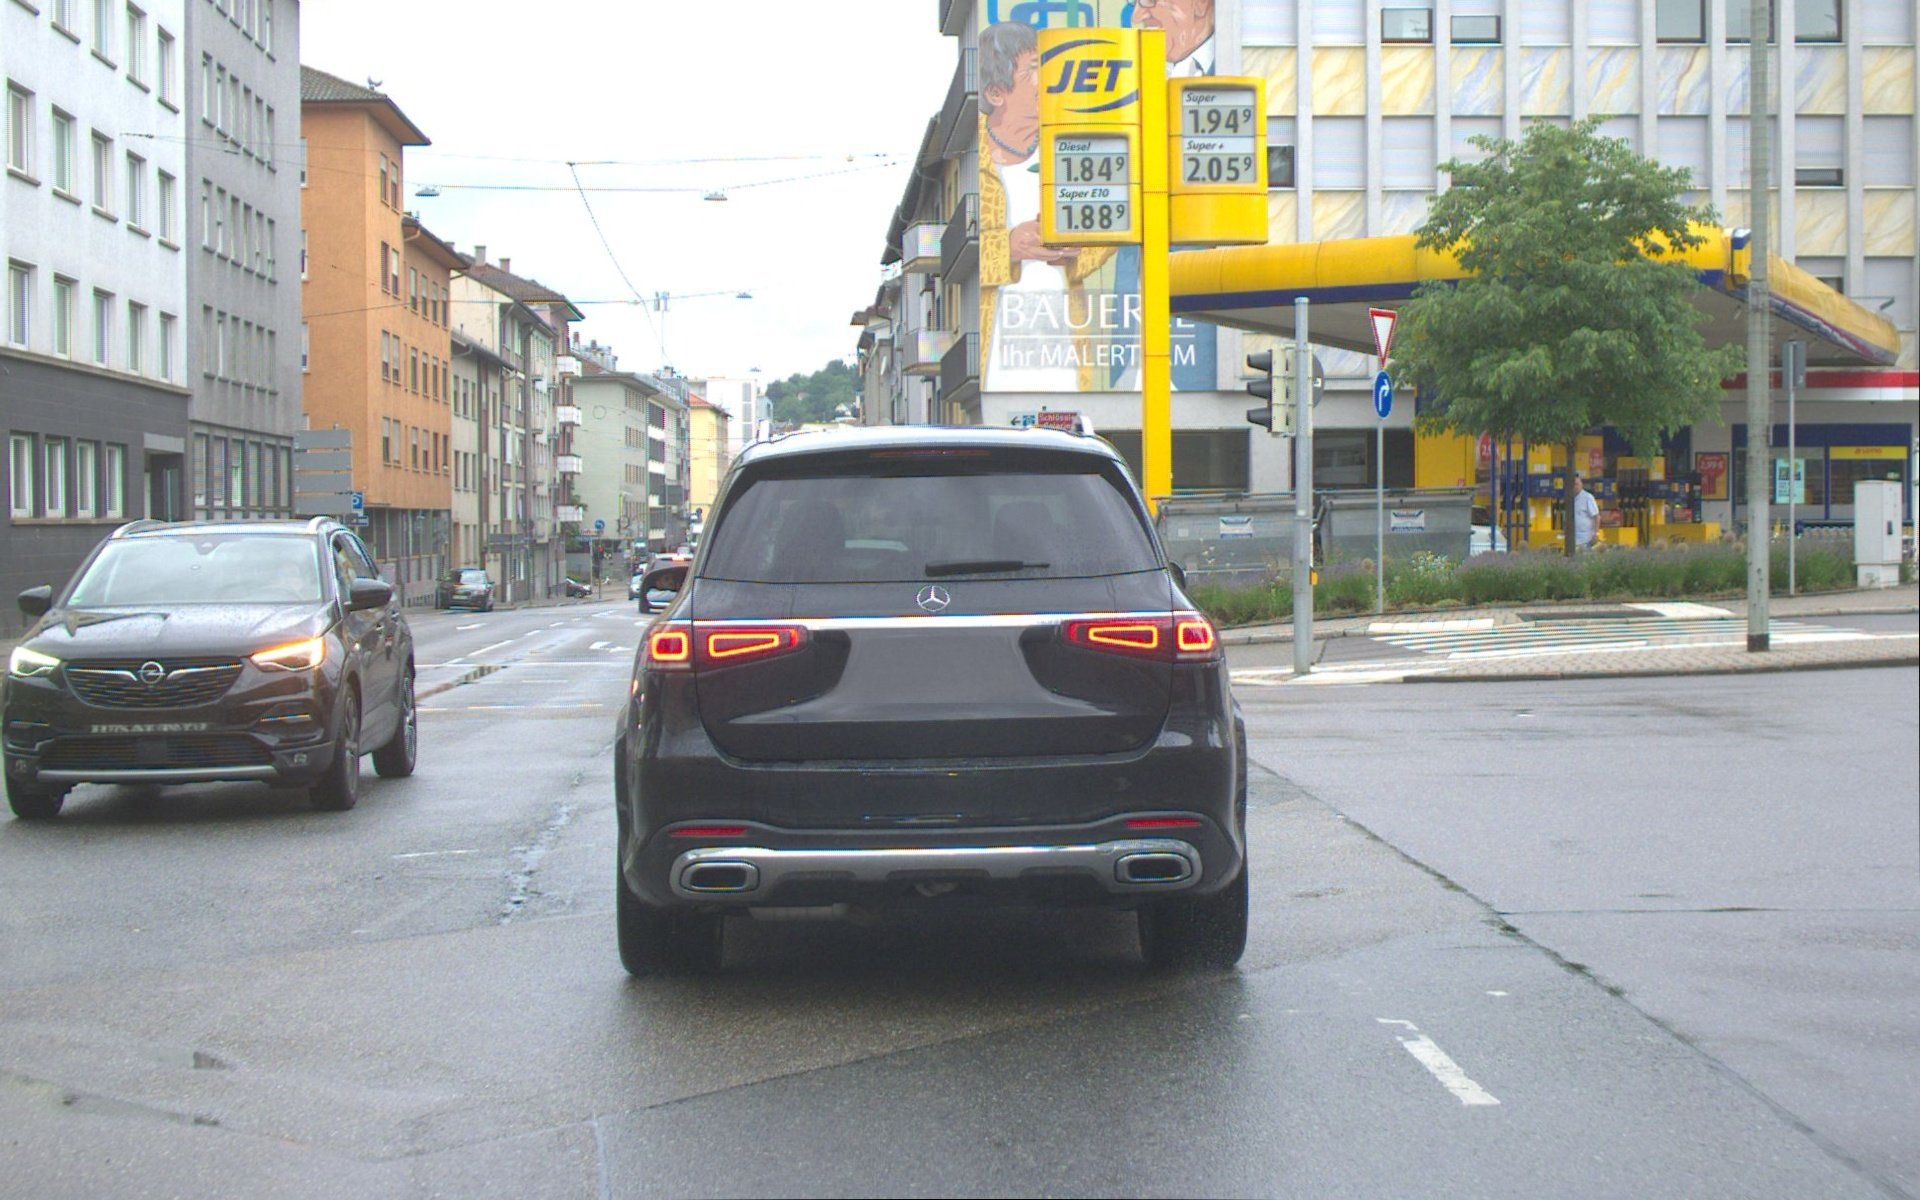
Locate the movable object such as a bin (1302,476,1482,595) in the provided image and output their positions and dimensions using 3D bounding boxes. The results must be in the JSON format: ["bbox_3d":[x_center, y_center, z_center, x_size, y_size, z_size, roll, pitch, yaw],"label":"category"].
[{"bbox_3d":[5.937,-0.882,47.405,2.155,1.550,1.773,-2,1,-2],"label":"movable object such as a bin"}]

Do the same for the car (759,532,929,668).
[{"bbox_3d":[-1.567,-0.035,44.974,2.076,1.644,4.296,1,1,-3],"label":"car"}]

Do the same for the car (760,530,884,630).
[{"bbox_3d":[-2.458,-0.379,60.454,2.076,1.644,4.296,1,1,-3],"label":"car"}]

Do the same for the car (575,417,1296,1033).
[{"bbox_3d":[-0.193,0.330,12.392,2.076,1.759,4.612,1,1,-3],"label":"car"}]

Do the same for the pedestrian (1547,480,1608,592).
[{"bbox_3d":[8.831,-0.914,49.178,0.664,1.579,0.847,1,1,0],"label":"pedestrian"}]

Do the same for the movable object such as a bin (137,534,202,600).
[{"bbox_3d":[-16.073,-0.672,69.929,1.076,1.320,1.191,1,1,-3],"label":"movable object such as a bin"}]

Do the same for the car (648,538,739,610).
[{"bbox_3d":[-6.441,-0.656,83.554,2.076,1.644,4.296,1,1,-3],"label":"car"}]

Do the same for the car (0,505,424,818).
[{"bbox_3d":[-4.234,0.274,19.648,1.807,1.589,4.295,0,1,-2],"label":"car"}]

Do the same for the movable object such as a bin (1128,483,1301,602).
[{"bbox_3d":[3.465,-0.788,47.148,2.155,1.569,1.773,-1,1,-2],"label":"movable object such as a bin"}]

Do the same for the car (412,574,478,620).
[{"bbox_3d":[-17.381,-0.119,116.175,1.891,1.453,4.550,1,1,-5],"label":"car"}]
